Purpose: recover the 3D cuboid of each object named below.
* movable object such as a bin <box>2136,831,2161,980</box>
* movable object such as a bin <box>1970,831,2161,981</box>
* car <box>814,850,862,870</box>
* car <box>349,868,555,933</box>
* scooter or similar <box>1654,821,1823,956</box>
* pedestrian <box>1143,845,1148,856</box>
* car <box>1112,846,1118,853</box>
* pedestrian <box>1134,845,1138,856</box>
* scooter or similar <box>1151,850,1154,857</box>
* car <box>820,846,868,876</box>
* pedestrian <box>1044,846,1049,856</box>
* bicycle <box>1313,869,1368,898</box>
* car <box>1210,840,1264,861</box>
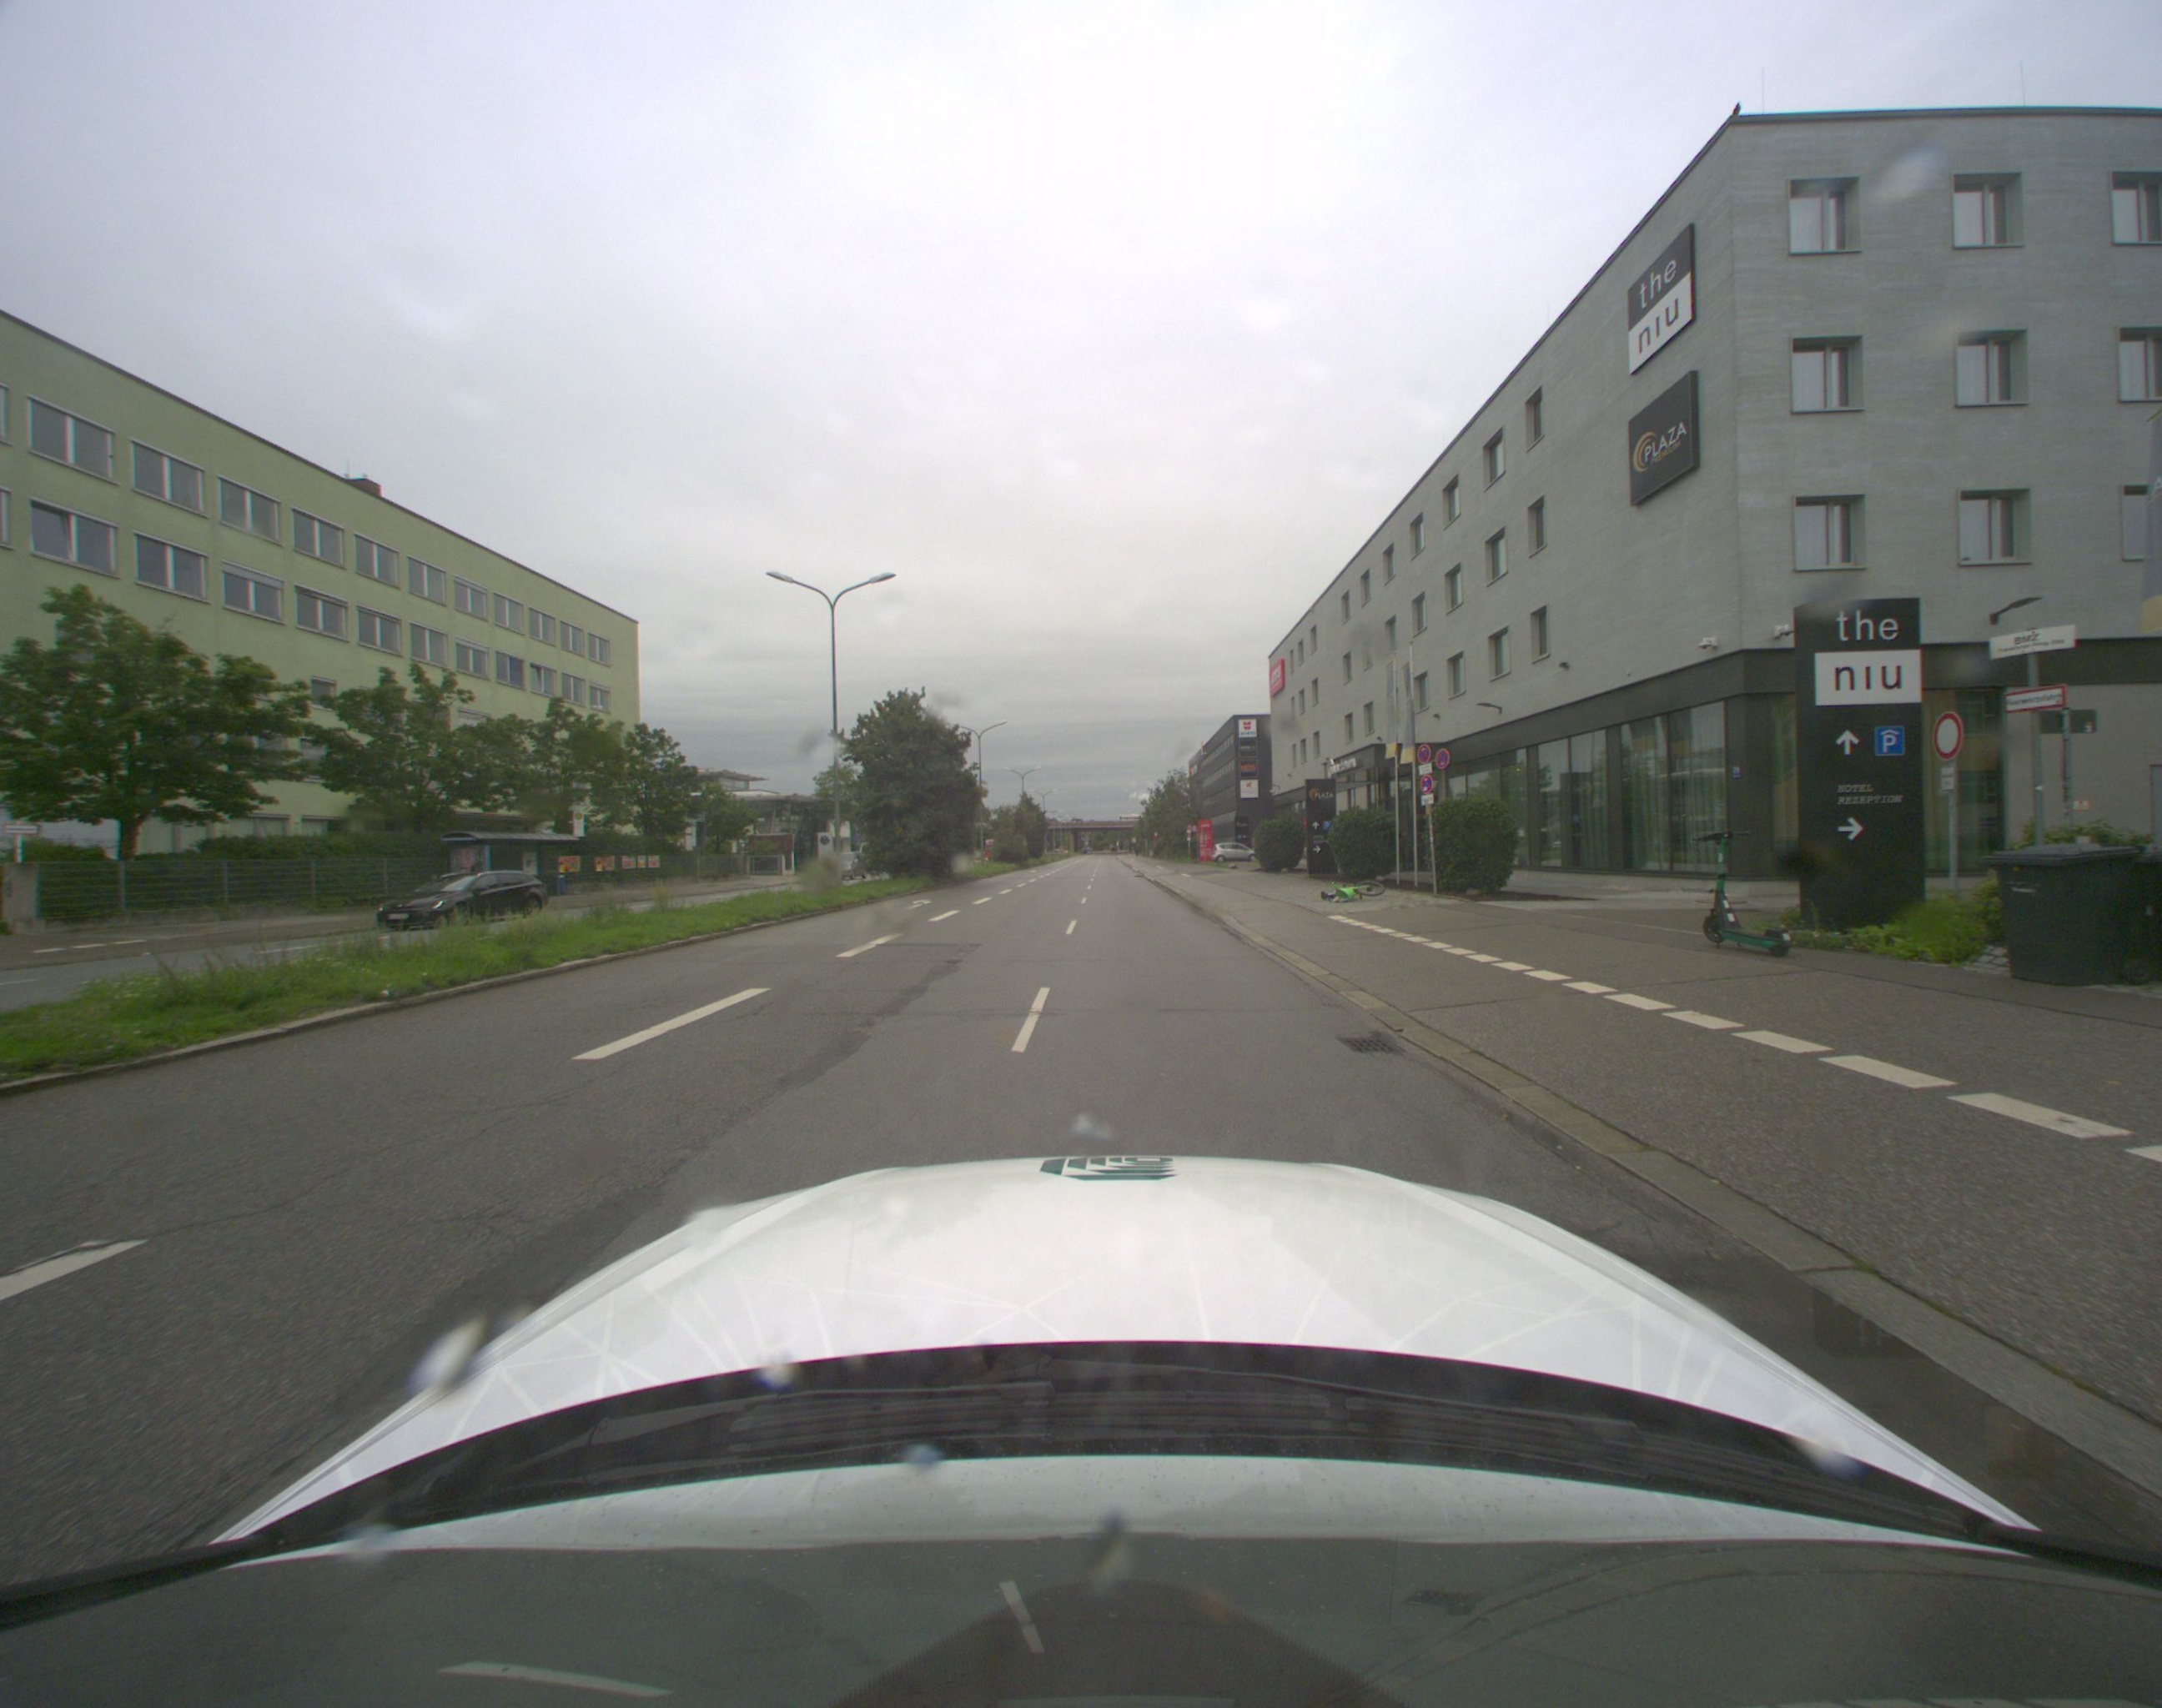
[{"bbox_3d":[8.195,0.358,5.700,0.734,1.078,0.655,-3,0,2],"label":"movable object such as a bin"},{"bbox_3d":[7.713,0.383,6.380,0.734,1.078,0.655,-3,0,2],"label":"movable object such as a bin"},{"bbox_3d":[-25.517,0.658,85.505,4.650,1.842,1.788,-3,0,-22],"label":"car"},{"bbox_3d":[-17.108,1.197,22.537,1.987,1.401,4.655,-3,0,0],"label":"car"},{"bbox_3d":[7.014,0.333,8.777,0.583,1.277,1.404,-6,0,2],"label":"scooter or similar"},{"bbox_3d":[11.078,-0.596,140.077,0.686,1.876,0.662,-3,0,1],"label":"pedestrian"},{"bbox_3d":[10.402,-1.341,249.547,1.805,2.013,3.837,-1,1,3],"label":"car"},{"bbox_3d":[10.160,-0.647,149.693,0.686,1.876,0.662,-3,0,1],"label":"pedestrian"},{"bbox_3d":[10.216,-0.059,116.681,0.303,1.004,1.219,-3,0,-1],"label":"scooter or similar"},{"bbox_3d":[-16.611,0.449,57.361,1.987,1.960,4.324,-3,0,0],"label":"car"},{"bbox_3d":[-5.537,-0.435,129.744,0.656,1.617,0.692,-3,0,6],"label":"pedestrian"},{"bbox_3d":[6.062,0.671,19.113,0.717,0.548,1.733,-5,0,1],"label":"bicycle"},{"bbox_3d":[12.490,-0.278,65.253,4.001,1.557,1.820,-1,0,-1],"label":"car"}]
